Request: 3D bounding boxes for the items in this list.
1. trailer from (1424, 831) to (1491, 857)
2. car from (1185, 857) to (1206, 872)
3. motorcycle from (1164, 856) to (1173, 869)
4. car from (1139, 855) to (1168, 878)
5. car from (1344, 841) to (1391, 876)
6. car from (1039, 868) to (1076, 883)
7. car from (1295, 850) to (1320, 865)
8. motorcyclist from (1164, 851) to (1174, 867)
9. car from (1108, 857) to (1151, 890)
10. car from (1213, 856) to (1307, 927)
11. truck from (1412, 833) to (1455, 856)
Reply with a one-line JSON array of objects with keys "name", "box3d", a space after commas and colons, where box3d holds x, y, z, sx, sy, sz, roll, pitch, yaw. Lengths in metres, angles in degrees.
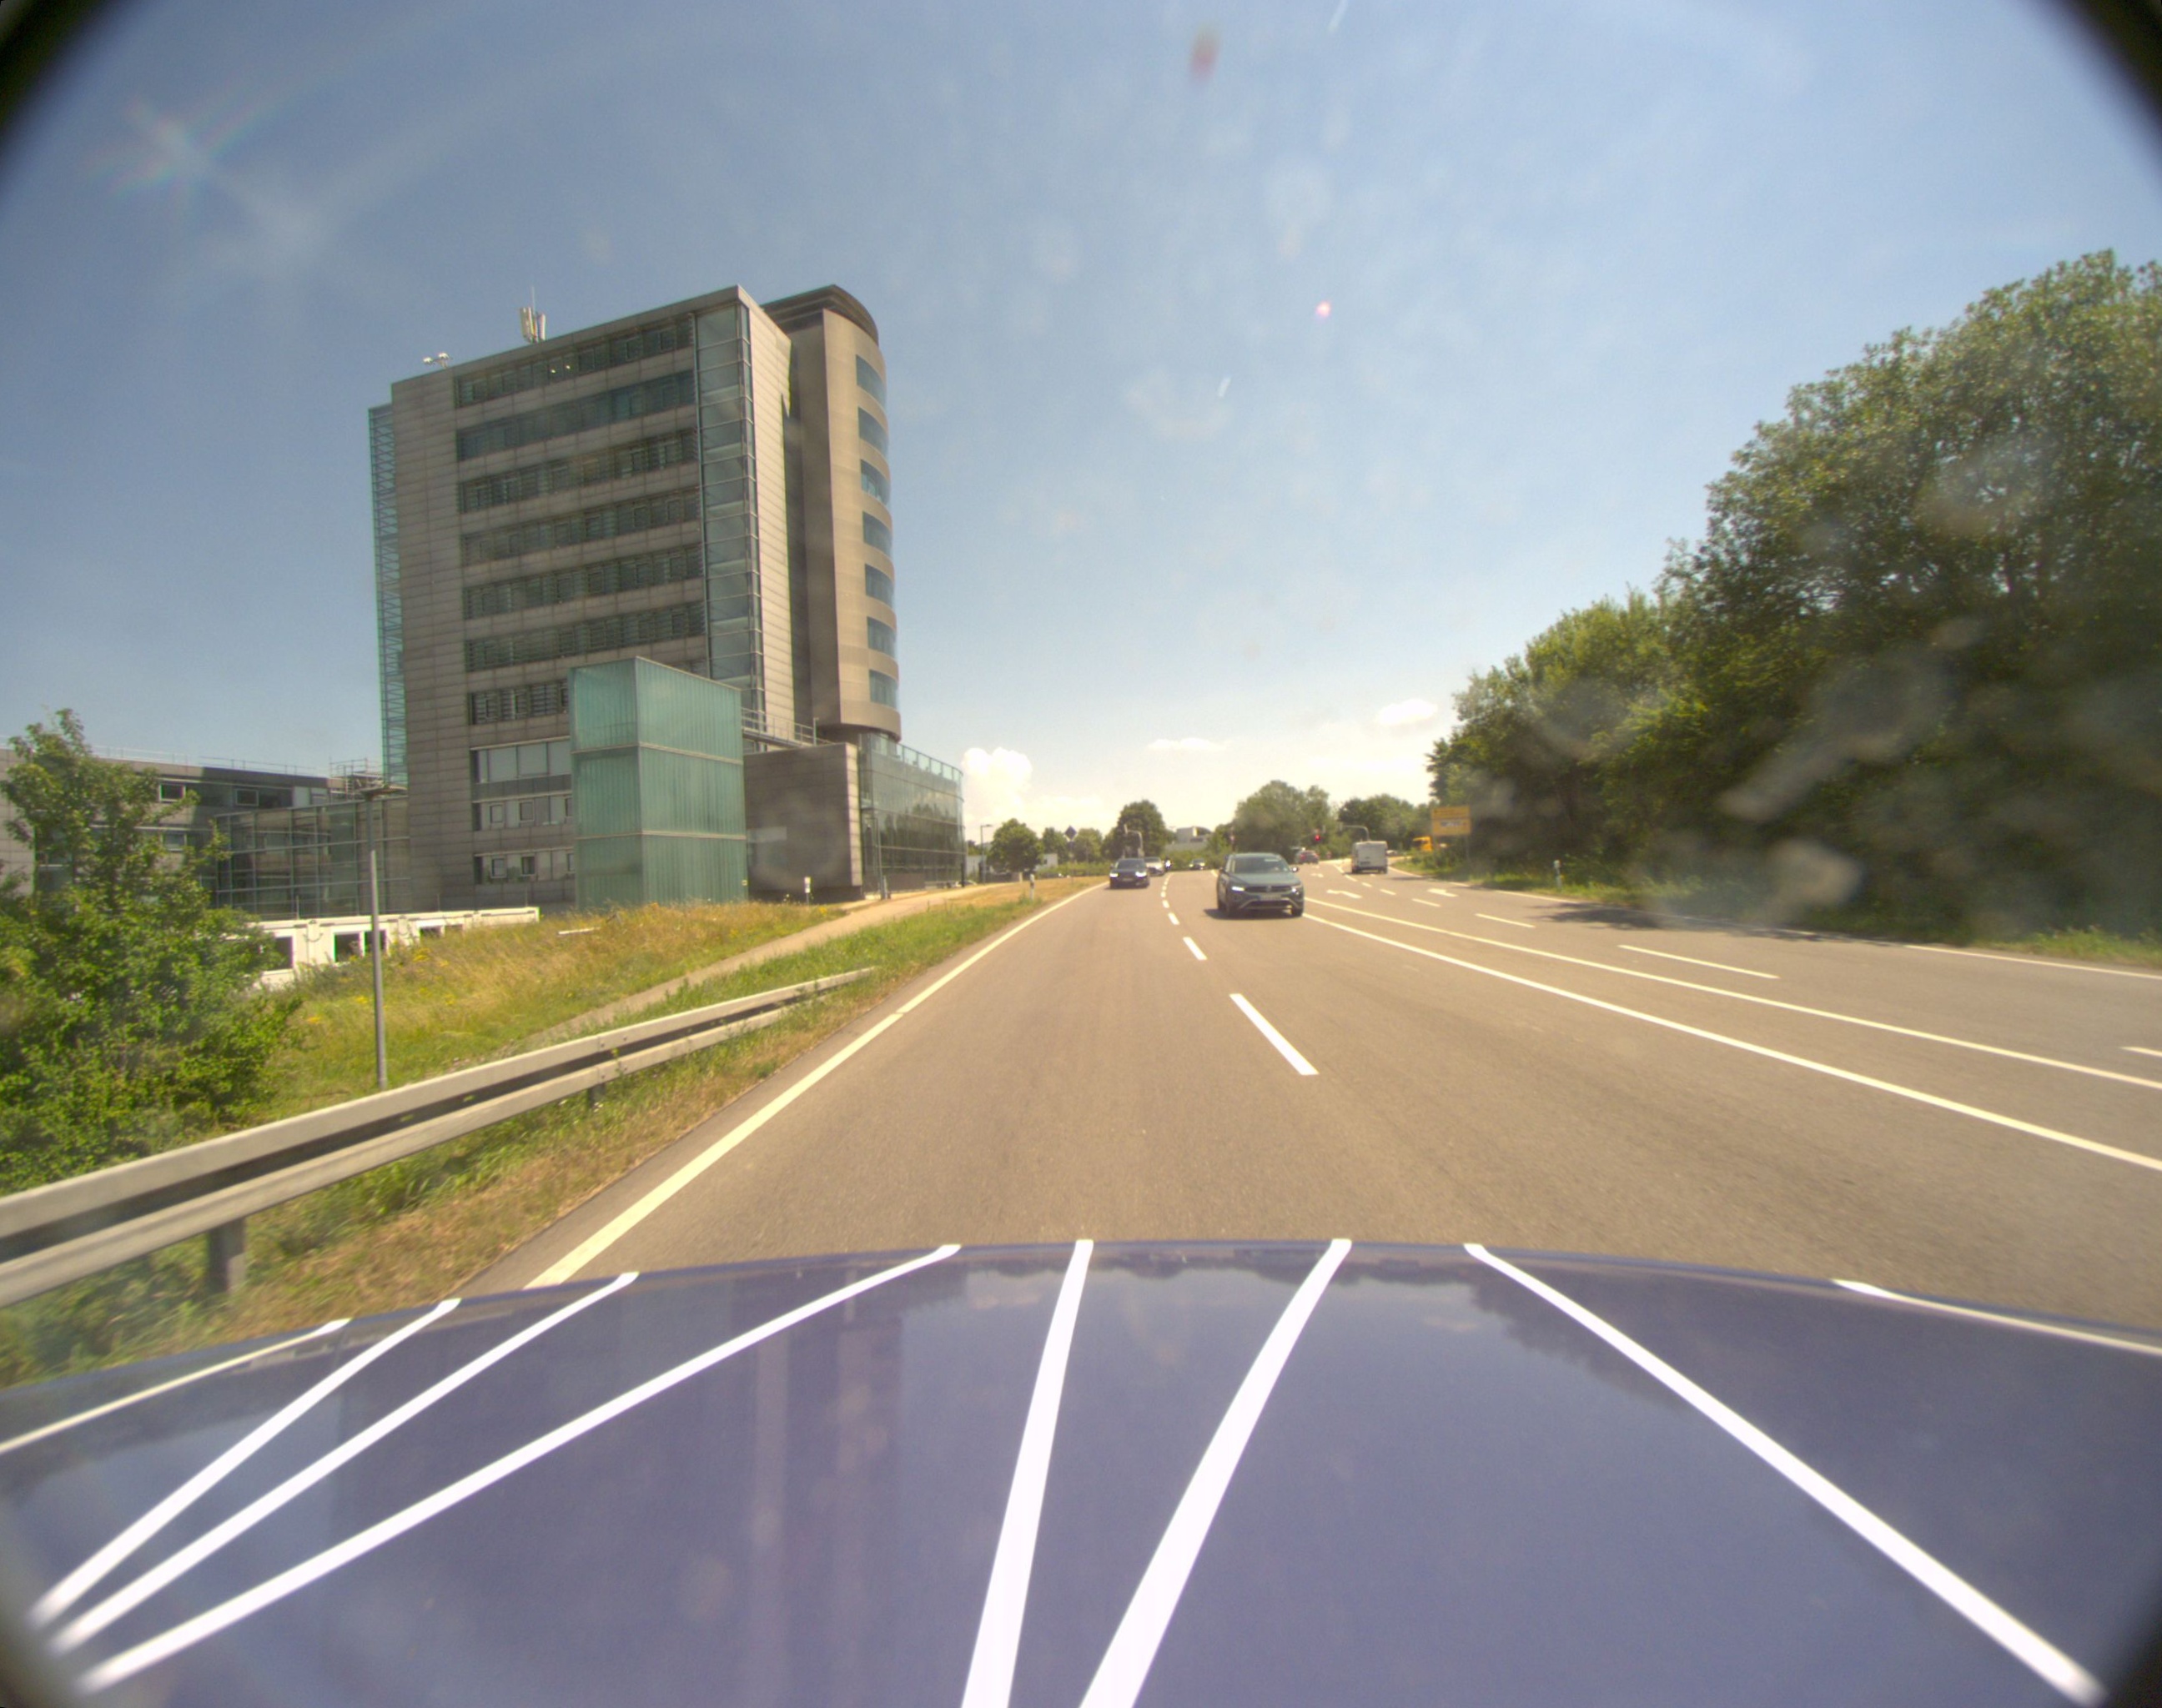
[{"name": "trailer", "box3d": [68.385, -1.818, 137.891, 13.188, 4.038, 3.068, -3, -2, -26]}, {"name": "car", "box3d": [13.333, 1.254, 88.483, 2.115, 1.582, 4.454, -2, 0, 12]}, {"name": "motorcycle", "box3d": [7.911, 0.801, 68.406, 0.734, 1.131, 2.073, 0, -1, 5]}, {"name": "car", "box3d": [5.472, 0.951, 57.186, 1.933, 1.576, 4.183, -4, -2, 7]}, {"name": "car", "box3d": [18.065, 0.281, 48.116, 2.079, 2.002, 5.813, -2, 0, 15]}, {"name": "car", "box3d": [-3.022, 2.720, 96.900, 4.353, 1.589, 1.937, -4, -2, -9]}, {"name": "car", "box3d": [24.570, 0.418, 82.573, 1.997, 1.430, 4.226, -4, -2, 9]}, {"name": "motorcyclist", "box3d": [7.885, 0.465, 68.379, 0.860, 1.479, 1.162, -1, 0, 5]}, {"name": "car", "box3d": [2.470, 0.944, 37.626, 1.778, 1.497, 4.564, -1, -1, 8]}, {"name": "car", "box3d": [4.482, 0.865, 19.618, 1.838, 1.577, 4.393, -2, 0, 7]}, {"name": "truck", "box3d": [62.619, -1.689, 135.123, 6.864, 3.516, 2.981, -3, -2, -24]}]
